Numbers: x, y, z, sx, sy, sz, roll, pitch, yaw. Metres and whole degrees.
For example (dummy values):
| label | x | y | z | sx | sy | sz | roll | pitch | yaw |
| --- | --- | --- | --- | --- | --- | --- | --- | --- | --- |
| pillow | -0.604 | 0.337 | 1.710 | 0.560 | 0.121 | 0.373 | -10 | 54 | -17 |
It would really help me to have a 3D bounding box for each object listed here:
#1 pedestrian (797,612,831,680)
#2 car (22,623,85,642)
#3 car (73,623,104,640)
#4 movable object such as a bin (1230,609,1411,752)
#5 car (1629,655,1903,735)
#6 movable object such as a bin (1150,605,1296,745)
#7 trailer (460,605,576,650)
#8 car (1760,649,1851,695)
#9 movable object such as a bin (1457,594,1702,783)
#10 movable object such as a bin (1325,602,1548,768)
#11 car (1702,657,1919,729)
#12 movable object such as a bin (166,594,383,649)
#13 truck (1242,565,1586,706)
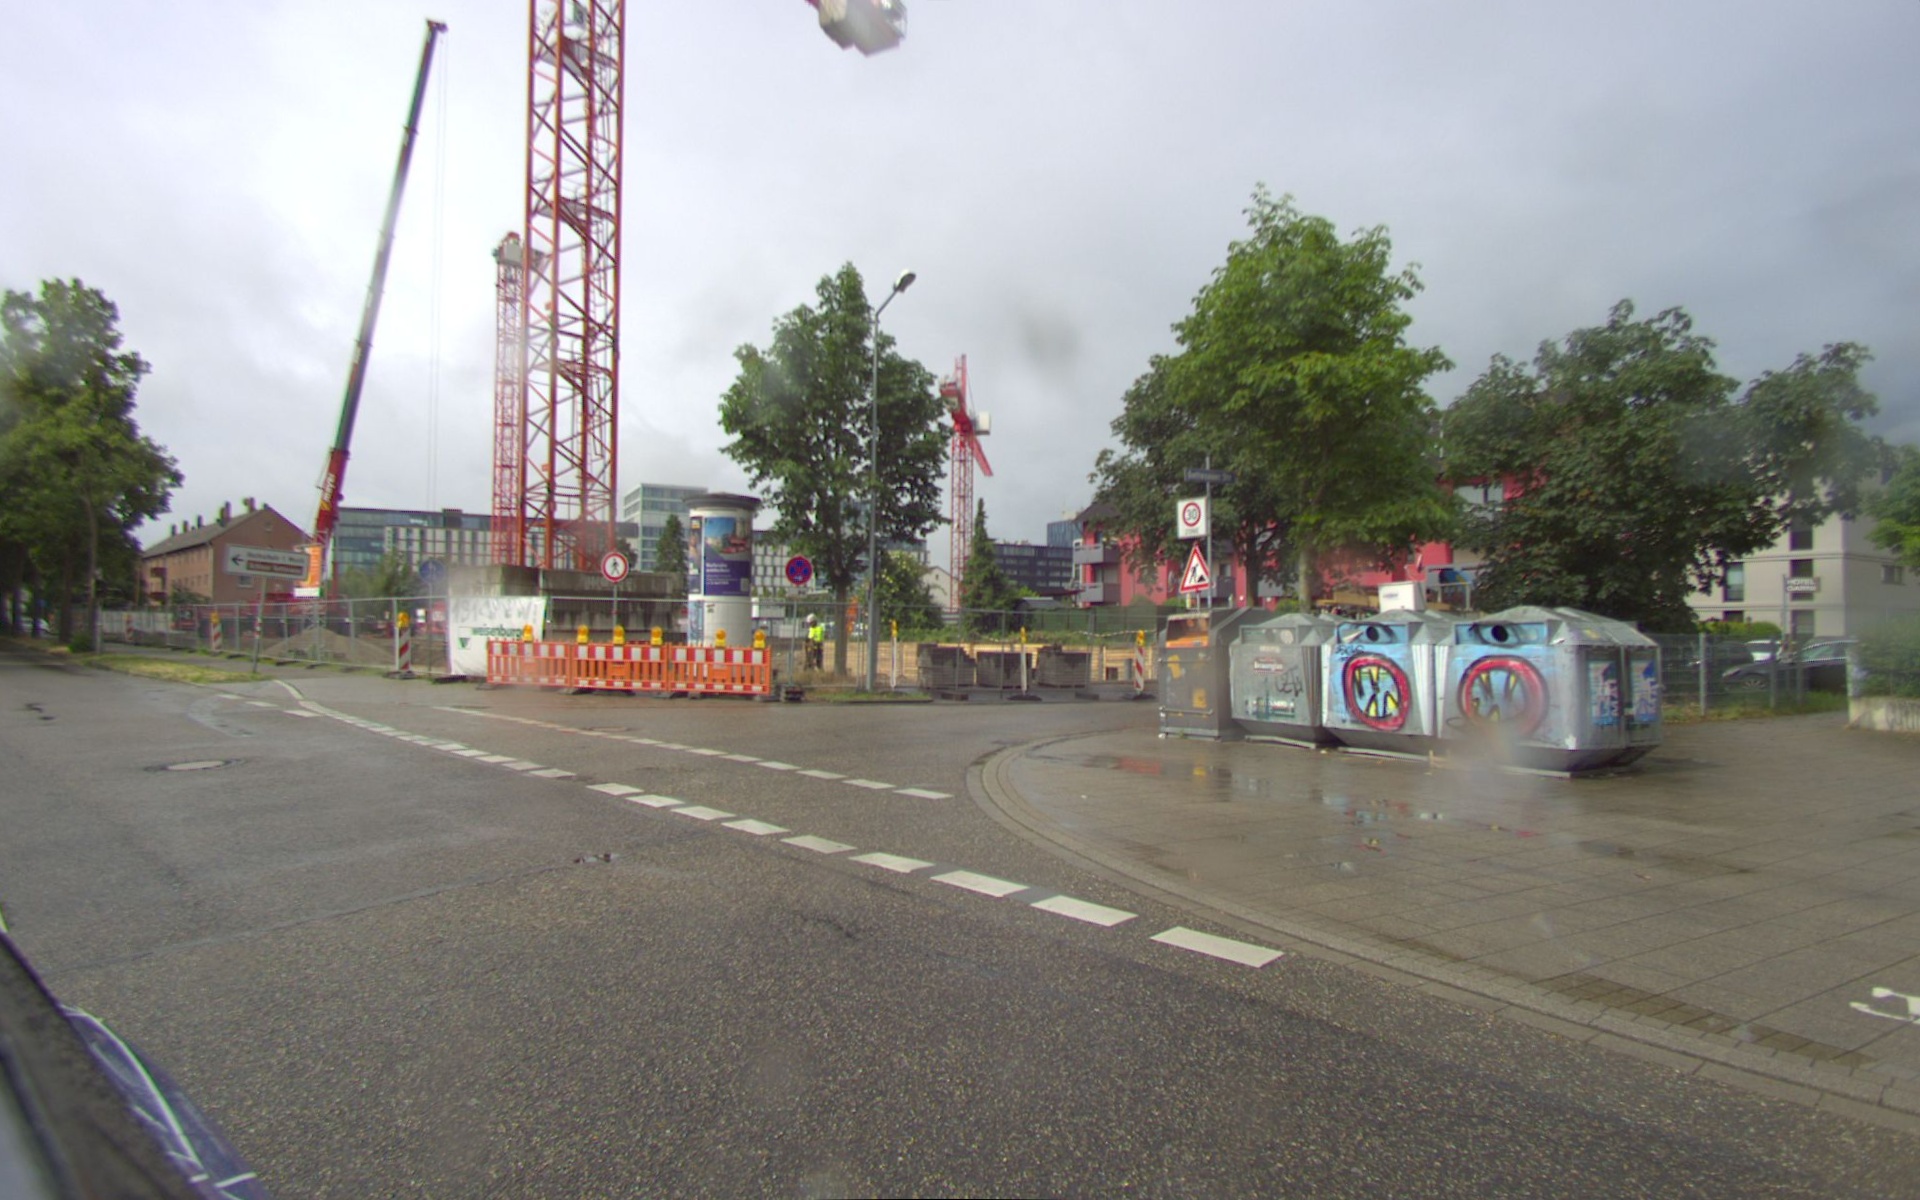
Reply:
| label | x | y | z | sx | sy | sz | roll | pitch | yaw |
| --- | --- | --- | --- | --- | --- | --- | --- | --- | --- |
| pedestrian | -3.566 | 1.124 | 24.689 | 0.610 | 1.632 | 0.551 | 3 | -3 | -31 |
| car | -79.764 | 2.874 | 89.117 | 3.805 | 1.564 | 1.703 | 0 | 0 | -25 |
| car | -81.793 | 2.943 | 94.997 | 3.998 | 1.541 | 1.671 | 0 | 0 | 41 |
| movable object such as a bin | 4.547 | 0.994 | 12.866 | 1.516 | 1.669 | 1.532 | 2 | -3 | -28 |
| car | 16.634 | 1.909 | 21.141 | 1.674 | 1.453 | 4.136 | 3 | -4 | -26 |
| movable object such as a bin | 3.668 | 1.030 | 14.183 | 1.516 | 1.838 | 1.267 | 2 | -4 | -28 |
| trailer | -35.766 | 2.072 | 81.409 | 14.309 | 3.257 | 2.929 | 0 | 2 | 43 |
| car | 31.363 | 2.666 | 37.526 | 3.450 | 1.597 | 1.669 | 3 | -3 | -34 |
| movable object such as a bin | 6.077 | 0.837 | 9.994 | 1.516 | 1.675 | 1.463 | 2 | -3 | -28 |
| movable object such as a bin | 5.318 | 0.926 | 11.403 | 1.516 | 1.687 | 1.671 | 2 | -3 | -28 |
| car | 19.950 | 2.094 | 23.449 | 1.674 | 1.453 | 4.136 | 3 | -4 | -26 |
| movable object such as a bin | -60.568 | 1.762 | 90.066 | 15.720 | 4.592 | 3.104 | 0 | 0 | -44 |
| truck | 12.401 | 1.048 | 27.246 | 9.678 | 3.208 | 3.802 | 3 | -3 | -33 |
